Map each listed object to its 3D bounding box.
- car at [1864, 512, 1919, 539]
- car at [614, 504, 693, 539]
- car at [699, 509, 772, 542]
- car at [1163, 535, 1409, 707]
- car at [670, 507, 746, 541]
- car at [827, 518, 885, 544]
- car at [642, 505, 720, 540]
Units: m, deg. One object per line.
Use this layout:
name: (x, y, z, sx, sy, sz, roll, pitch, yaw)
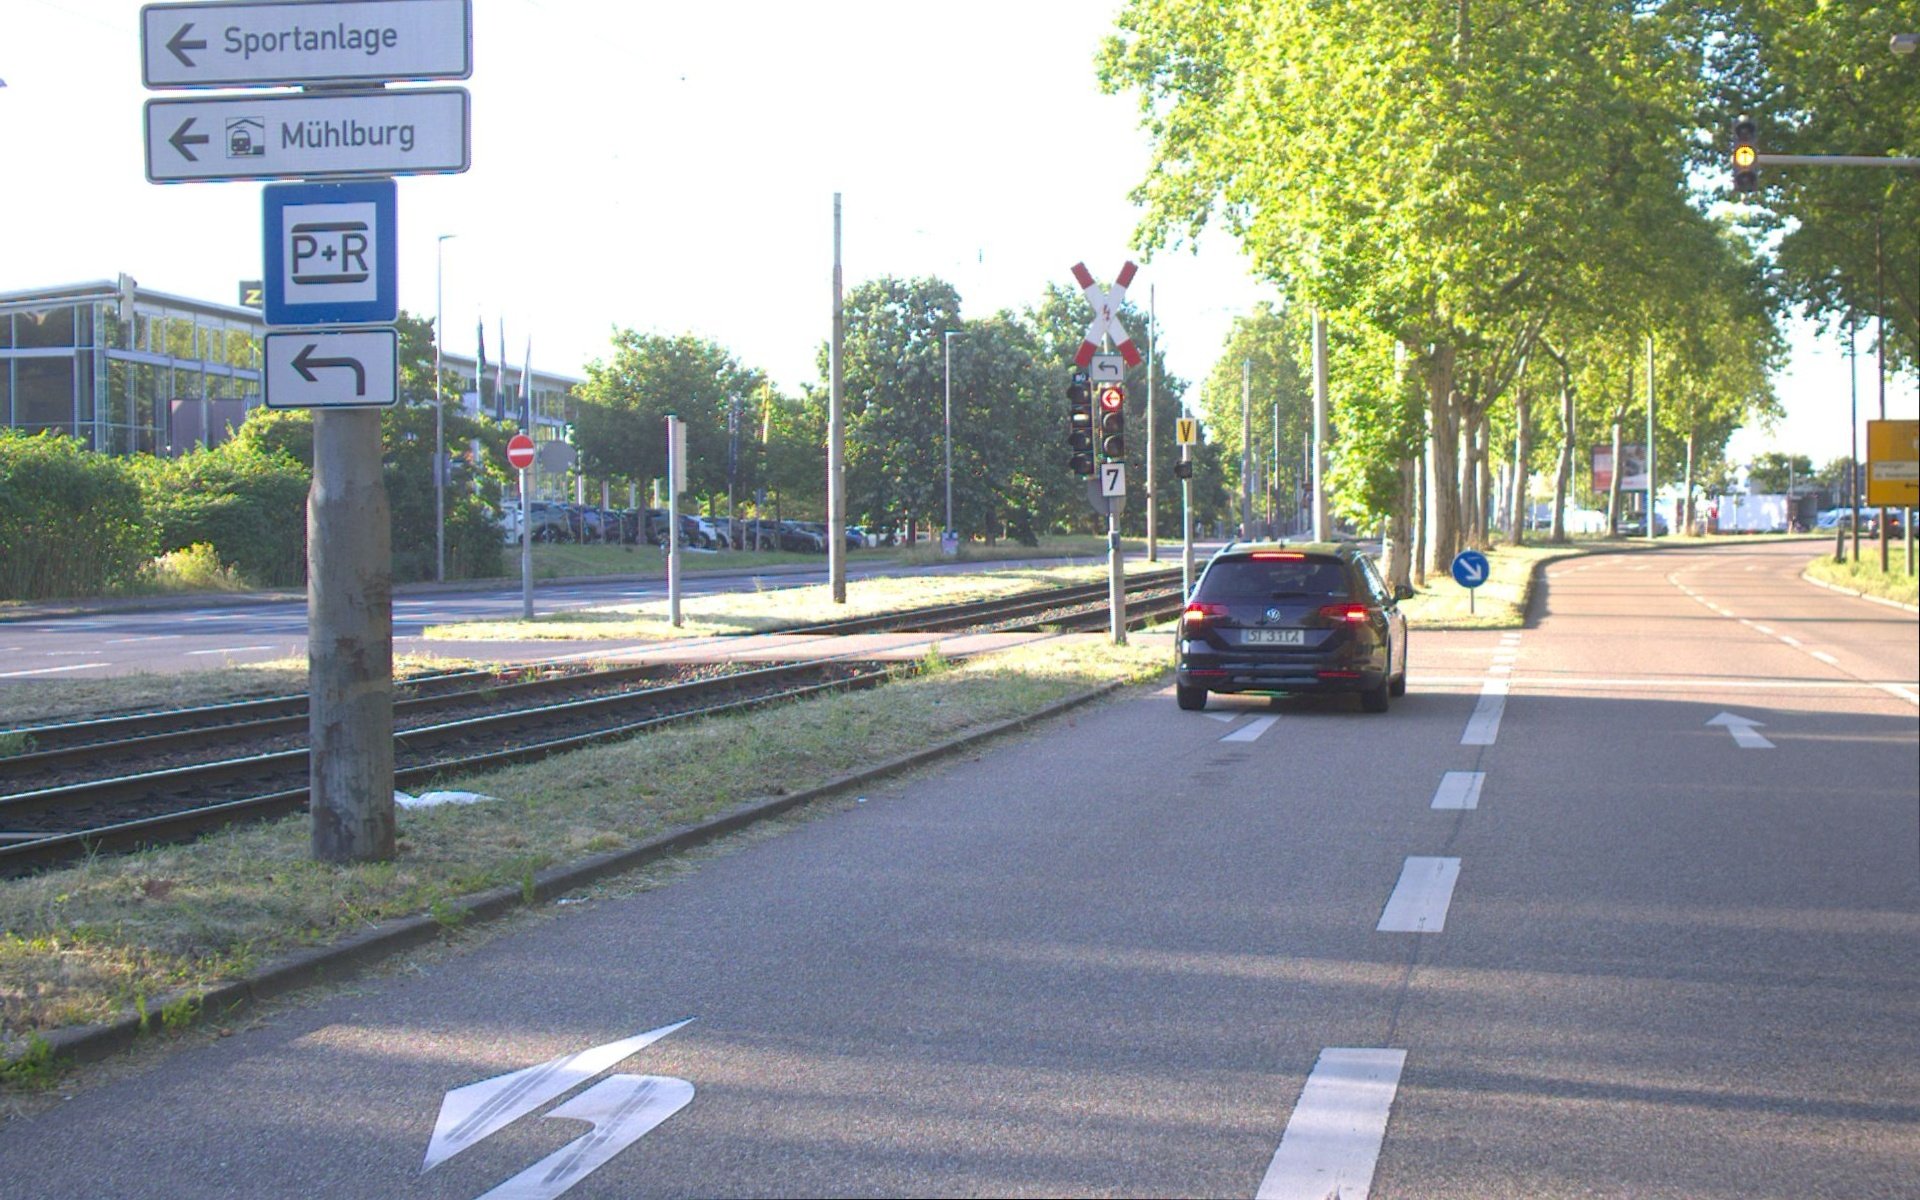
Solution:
car: (49.182, -3.884, 179.010, 3.676, 1.398, 1.799, 0, 1, -20)
car: (-13.070, -3.350, 146.788, 3.143, 1.485, 1.455, 1, 1, 7)
car: (-10.255, -3.405, 157.067, 3.143, 1.485, 1.455, 1, 1, 7)
car: (2.915, 0.138, 30.138, 1.793, 1.398, 3.687, 1, 1, 11)
car: (-11.223, -3.386, 153.026, 3.143, 1.485, 1.455, 1, 1, 7)
car: (-5.893, -3.924, 195.066, 3.143, 1.485, 1.455, 1, 1, 7)
car: (-12.135, -3.385, 149.649, 3.143, 1.485, 1.455, 1, 1, 7)
